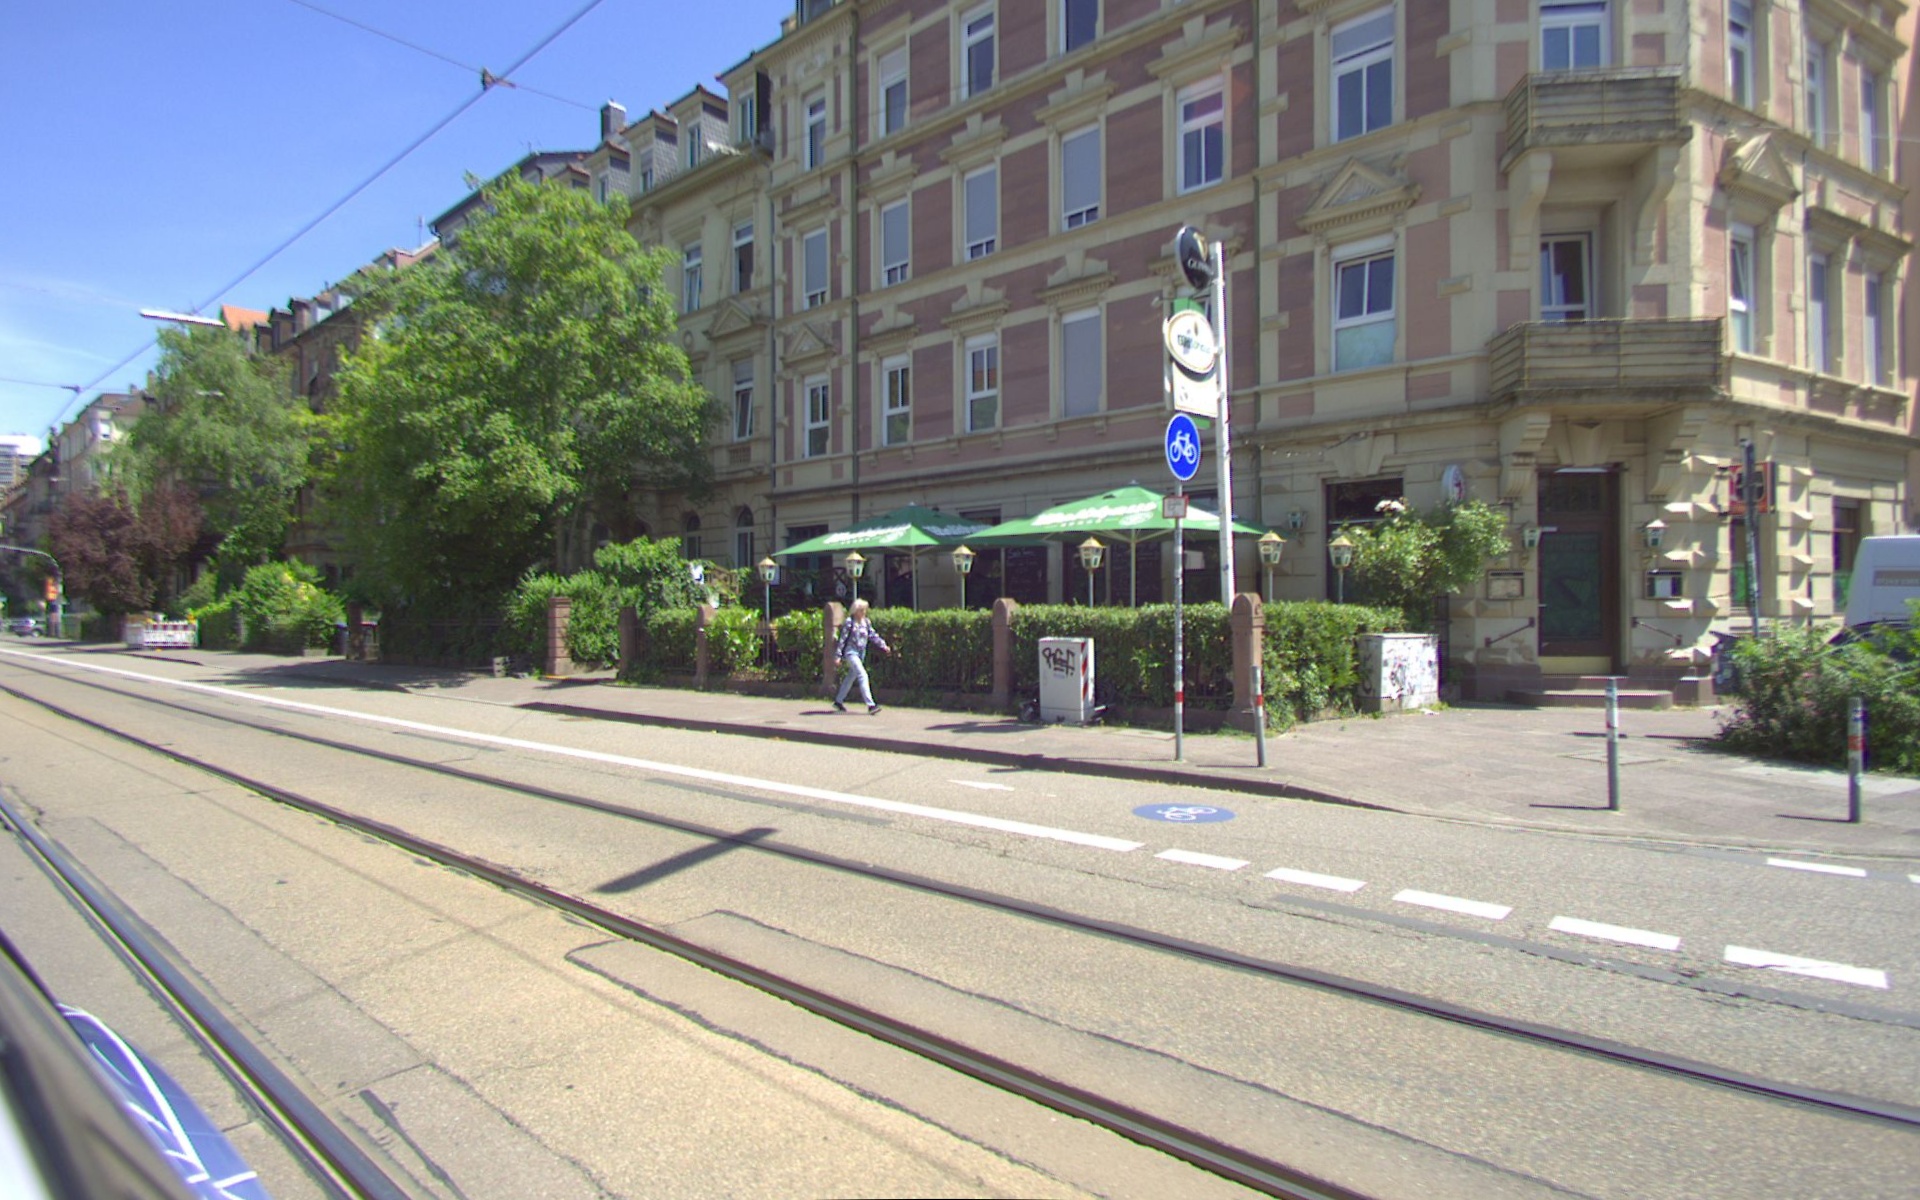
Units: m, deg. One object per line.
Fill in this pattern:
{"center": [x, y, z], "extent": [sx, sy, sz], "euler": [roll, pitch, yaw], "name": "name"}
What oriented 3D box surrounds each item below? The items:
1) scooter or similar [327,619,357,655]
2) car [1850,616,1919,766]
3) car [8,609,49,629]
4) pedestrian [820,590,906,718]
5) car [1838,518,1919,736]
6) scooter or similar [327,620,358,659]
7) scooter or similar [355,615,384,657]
{"center": [-20.520, 1.225, 33.591], "extent": [0.693, 1.166, 0.610], "euler": [-1, -1, 31], "name": "scooter or similar"}
{"center": [10.791, 0.882, 9.199], "extent": [1.568, 1.449, 3.768], "euler": [0, -1, -33], "name": "car"}
{"center": [-72.518, 1.475, 78.793], "extent": [3.998, 1.487, 1.973], "euler": [0, 0, 41], "name": "car"}
{"center": [-1.316, 0.703, 13.712], "extent": [0.940, 1.654, 0.732], "euler": [-1, -1, 44], "name": "pedestrian"}
{"center": [13.549, 0.296, 10.591], "extent": [2.089, 2.609, 6.208], "euler": [0, -1, -29], "name": "car"}
{"center": [-18.702, 1.182, 30.631], "extent": [0.694, 1.166, 0.609], "euler": [-1, -1, 38], "name": "scooter or similar"}
{"center": [-20.042, 1.207, 34.343], "extent": [0.693, 1.410, 0.610], "euler": [-1, -1, 31], "name": "scooter or similar"}
